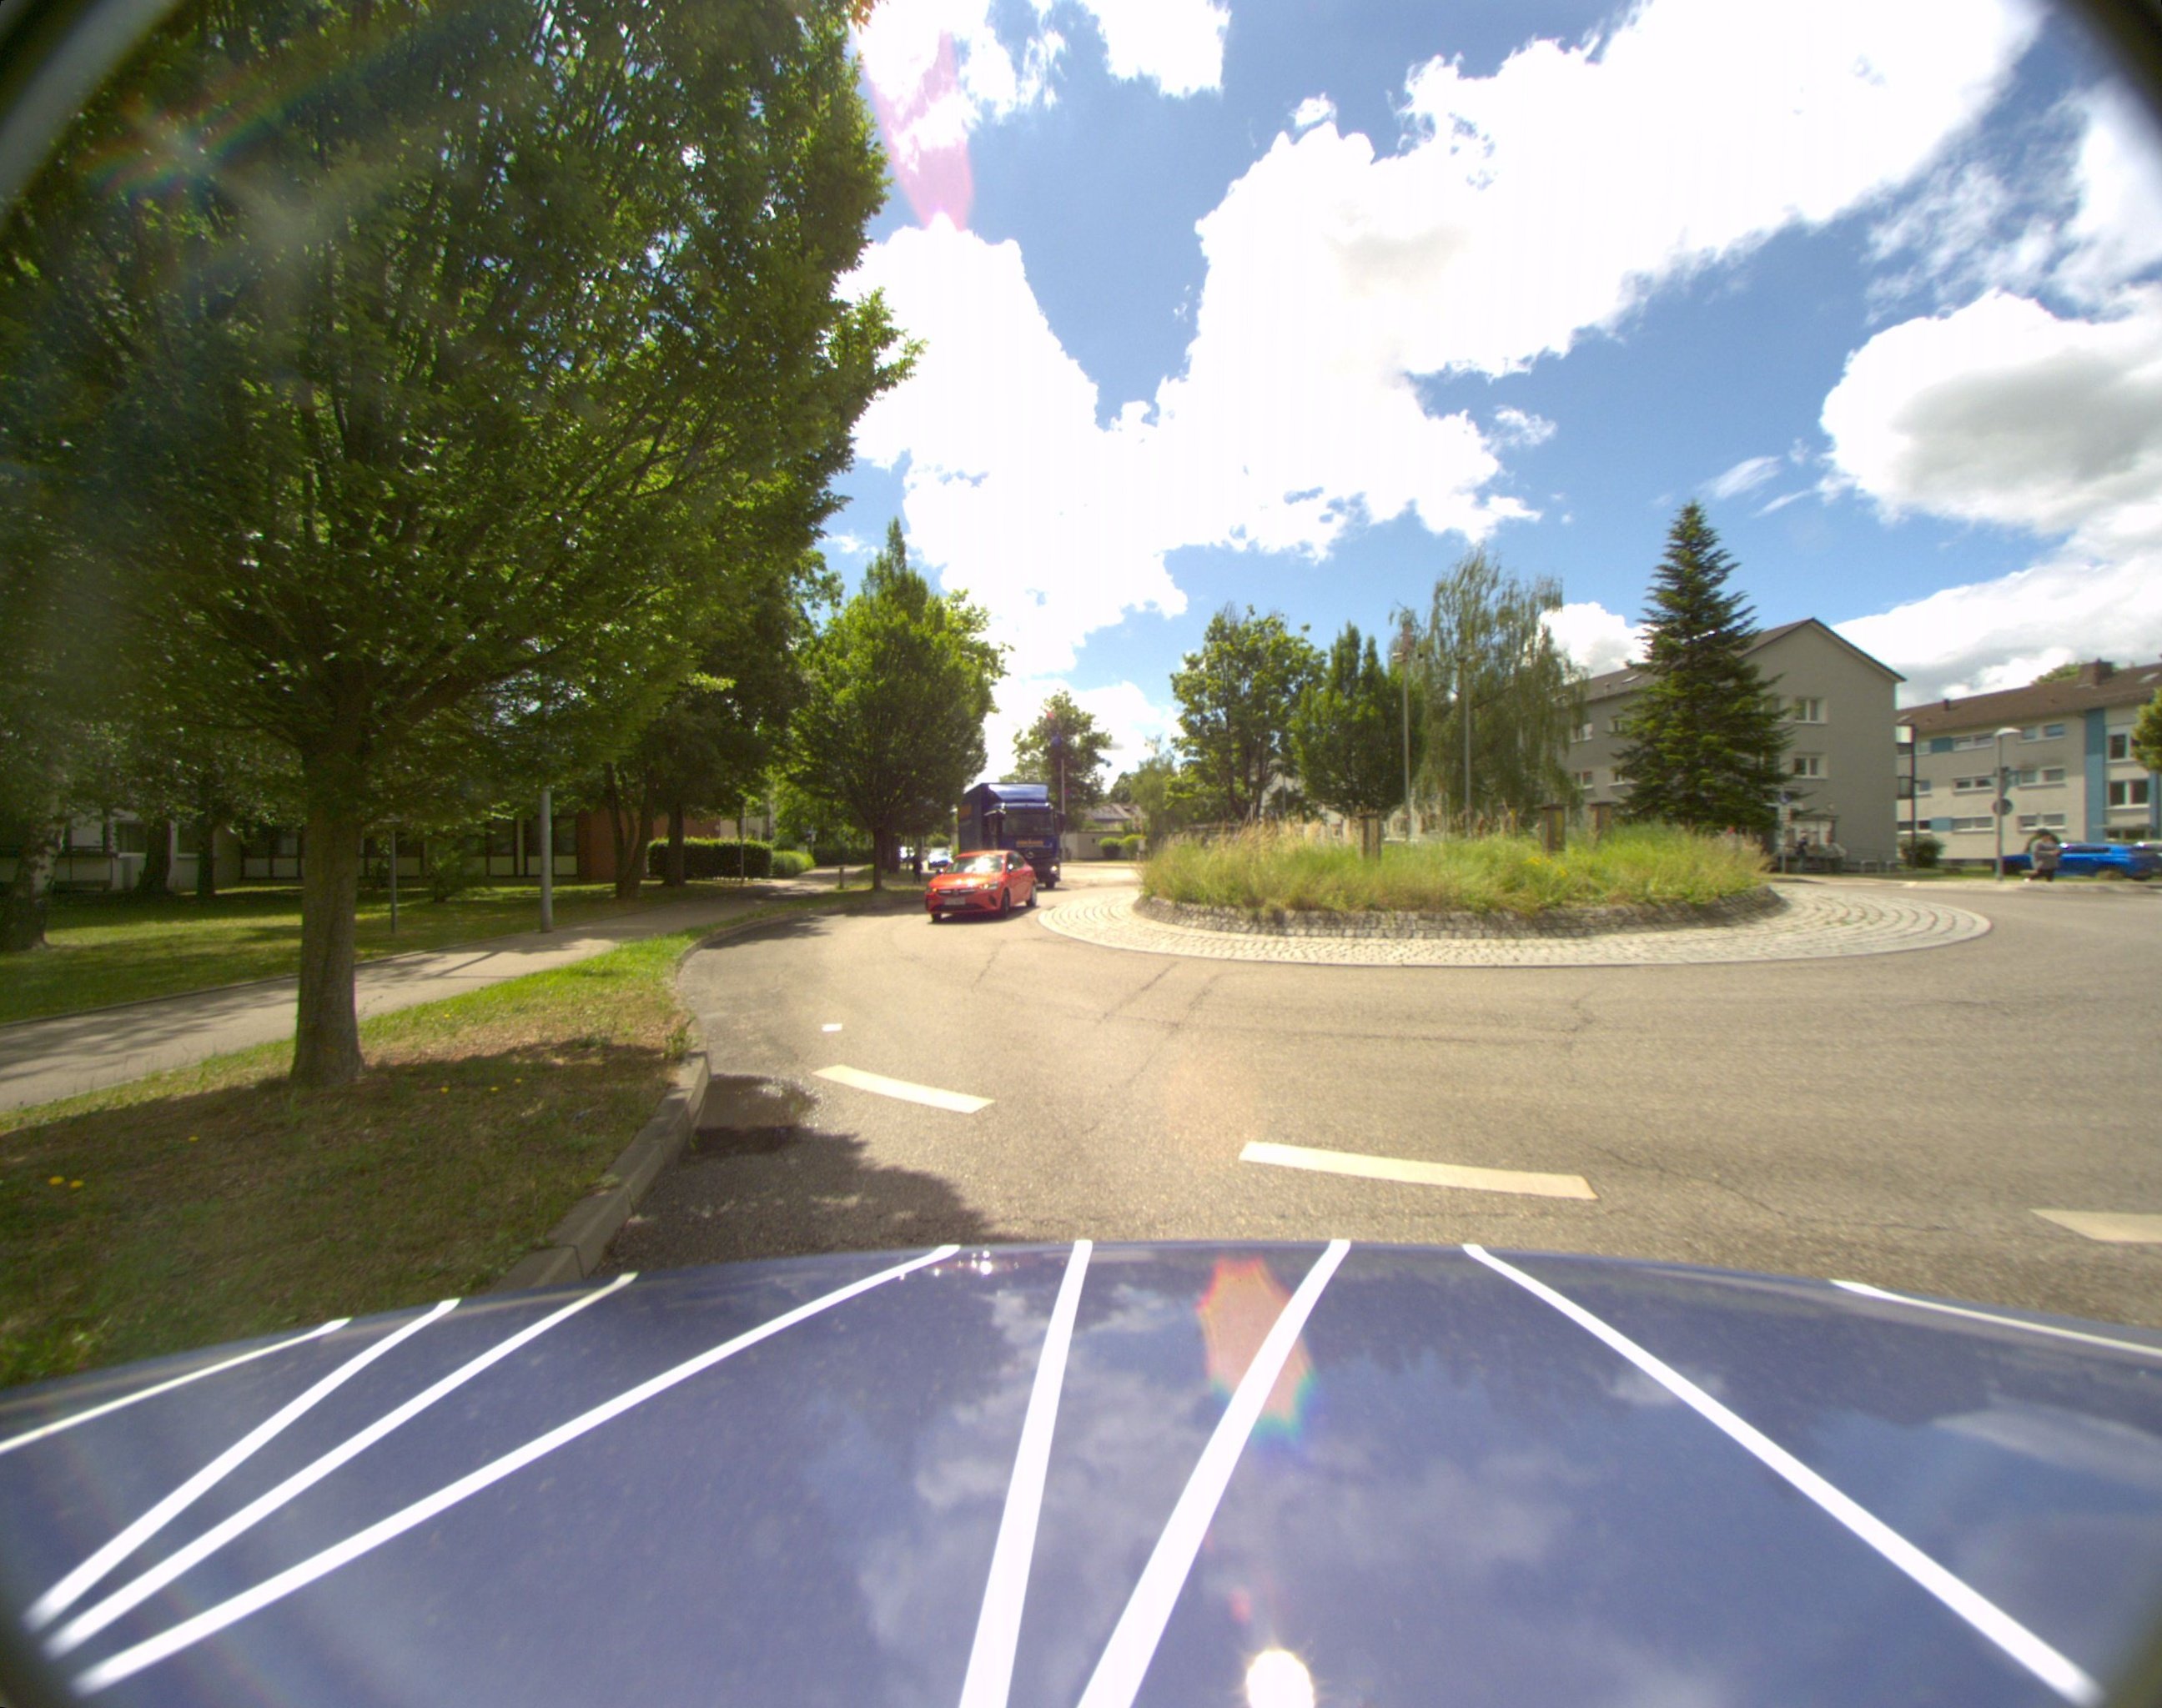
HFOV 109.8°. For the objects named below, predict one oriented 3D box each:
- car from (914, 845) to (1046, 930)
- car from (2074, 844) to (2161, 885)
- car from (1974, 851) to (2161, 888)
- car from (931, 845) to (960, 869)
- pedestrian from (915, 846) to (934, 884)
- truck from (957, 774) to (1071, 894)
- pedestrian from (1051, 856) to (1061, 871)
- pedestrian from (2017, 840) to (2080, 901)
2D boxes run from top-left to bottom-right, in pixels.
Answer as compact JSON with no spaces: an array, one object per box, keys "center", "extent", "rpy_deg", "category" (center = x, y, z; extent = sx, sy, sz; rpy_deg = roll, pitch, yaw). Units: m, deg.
[{"center":[-2.163,0.670,17.457],"extent":[1.764,1.549,4.001],"rpy_deg":[-1,3,11],"category":"car"},{"center":[43.250,0.423,30.383],"extent":[2.032,1.548,3.736],"rpy_deg":[0,2,-10],"category":"car"},{"center":[39.887,0.561,30.712],"extent":[2.001,1.237,4.490],"rpy_deg":[0,2,-12],"category":"car"},{"center":[-10.236,0.268,57.217],"extent":[2.001,1.665,3.997],"rpy_deg":[0,-2,-12],"category":"car"},{"center":[-6.765,0.475,32.827],"extent":[0.721,1.570,0.840],"rpy_deg":[-1,3,-9],"category":"pedestrian"},{"center":[-3.073,-0.611,31.159],"extent":[2.791,4.128,9.785],"rpy_deg":[-1,-1,-16],"category":"truck"},{"center":[-2.553,0.956,76.599],"extent":[0.903,1.572,0.660],"rpy_deg":[-1,1,-11],"category":"pedestrian"},{"center":[29.040,0.470,22.816],"extent":[0.908,1.788,0.875],"rpy_deg":[-1,1,-15],"category":"pedestrian"}]
